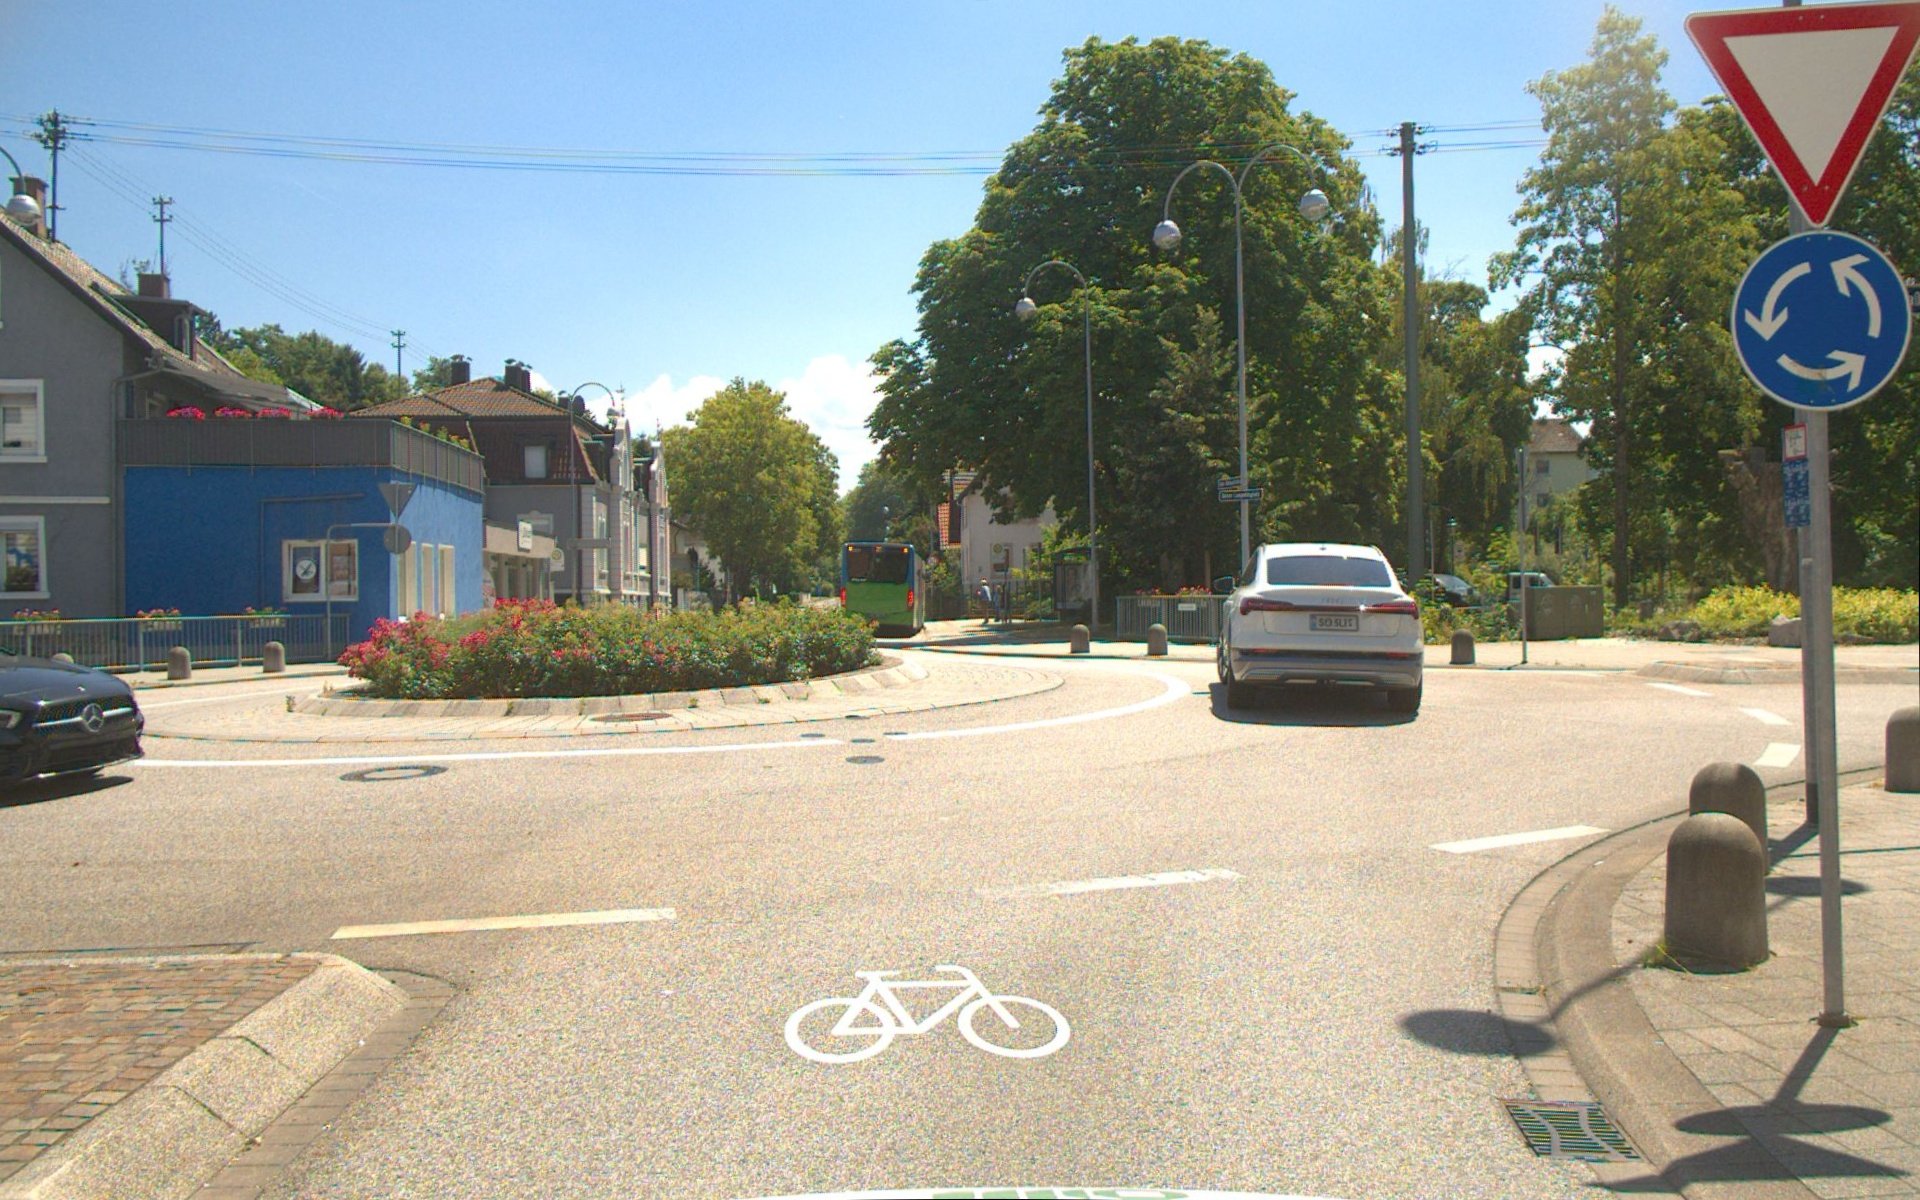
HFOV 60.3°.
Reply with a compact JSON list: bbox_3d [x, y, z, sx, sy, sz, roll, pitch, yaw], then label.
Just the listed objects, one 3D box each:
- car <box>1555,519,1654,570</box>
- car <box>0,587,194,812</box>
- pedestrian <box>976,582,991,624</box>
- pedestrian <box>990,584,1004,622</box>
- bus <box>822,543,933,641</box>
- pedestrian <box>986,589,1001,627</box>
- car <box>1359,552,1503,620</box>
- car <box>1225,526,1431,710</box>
[{"bbox_3d":[27.954,-2.366,71.692,3.906,2.049,1.999,-1,0,24],"label":"car"},{"bbox_3d":[-8.286,0.763,12.467,4.329,1.482,1.770,-3,1,13],"label":"car"},{"bbox_3d":[0.951,0.110,67.089,0.493,1.679,0.578,-1,0,-8],"label":"pedestrian"},{"bbox_3d":[1.547,0.121,69.511,0.479,1.548,0.541,-1,0,-8],"label":"pedestrian"},{"bbox_3d":[-2.914,-0.252,64.060,3.631,3.227,18.064,1,0,-1],"label":"bus"},{"bbox_3d":[1.289,0.303,63.932,0.480,1.479,0.529,-1,0,-8],"label":"pedestrian"},{"bbox_3d":[14.843,-0.438,52.279,1.984,2.049,3.938,-1,0,-42],"label":"car"},{"bbox_3d":[3.995,0.146,17.640,1.858,1.691,4.413,-1,1,15],"label":"car"}]
